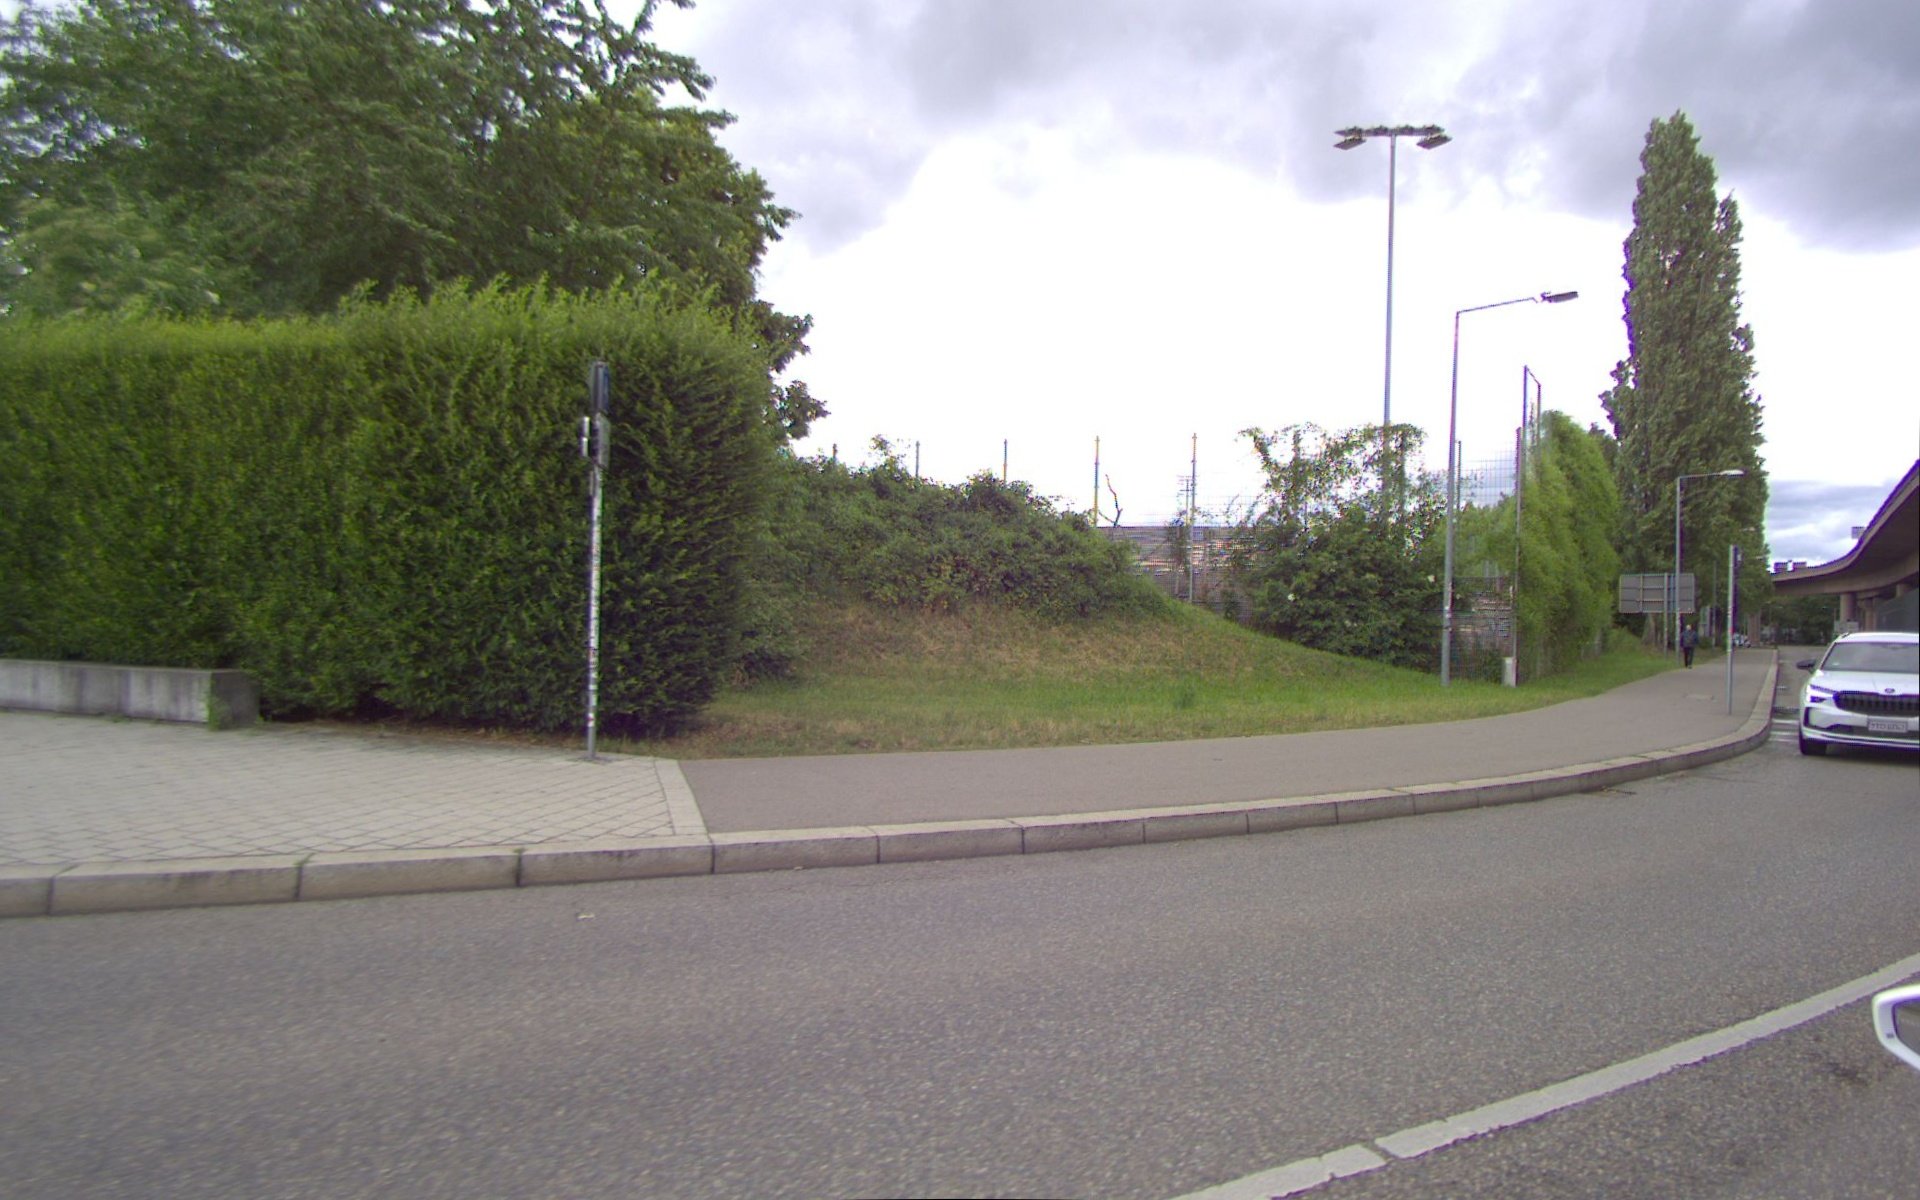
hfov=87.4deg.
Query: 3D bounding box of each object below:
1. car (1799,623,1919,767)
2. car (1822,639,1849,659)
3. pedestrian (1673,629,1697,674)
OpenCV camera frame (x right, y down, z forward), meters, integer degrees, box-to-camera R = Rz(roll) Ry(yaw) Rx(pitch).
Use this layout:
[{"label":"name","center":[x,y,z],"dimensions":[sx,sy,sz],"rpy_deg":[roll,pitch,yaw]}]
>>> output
[{"label":"car","center":[13.015,1.205,14.064],"dimensions":[1.843,1.706,4.382],"rpy_deg":[0,-1,41]},{"label":"car","center":[82.868,4.588,95.085],"dimensions":[1.818,1.734,3.688],"rpy_deg":[0,-1,40]},{"label":"pedestrian","center":[30.173,2.118,41.813],"dimensions":[0.793,1.804,0.917],"rpy_deg":[0,0,36]}]
